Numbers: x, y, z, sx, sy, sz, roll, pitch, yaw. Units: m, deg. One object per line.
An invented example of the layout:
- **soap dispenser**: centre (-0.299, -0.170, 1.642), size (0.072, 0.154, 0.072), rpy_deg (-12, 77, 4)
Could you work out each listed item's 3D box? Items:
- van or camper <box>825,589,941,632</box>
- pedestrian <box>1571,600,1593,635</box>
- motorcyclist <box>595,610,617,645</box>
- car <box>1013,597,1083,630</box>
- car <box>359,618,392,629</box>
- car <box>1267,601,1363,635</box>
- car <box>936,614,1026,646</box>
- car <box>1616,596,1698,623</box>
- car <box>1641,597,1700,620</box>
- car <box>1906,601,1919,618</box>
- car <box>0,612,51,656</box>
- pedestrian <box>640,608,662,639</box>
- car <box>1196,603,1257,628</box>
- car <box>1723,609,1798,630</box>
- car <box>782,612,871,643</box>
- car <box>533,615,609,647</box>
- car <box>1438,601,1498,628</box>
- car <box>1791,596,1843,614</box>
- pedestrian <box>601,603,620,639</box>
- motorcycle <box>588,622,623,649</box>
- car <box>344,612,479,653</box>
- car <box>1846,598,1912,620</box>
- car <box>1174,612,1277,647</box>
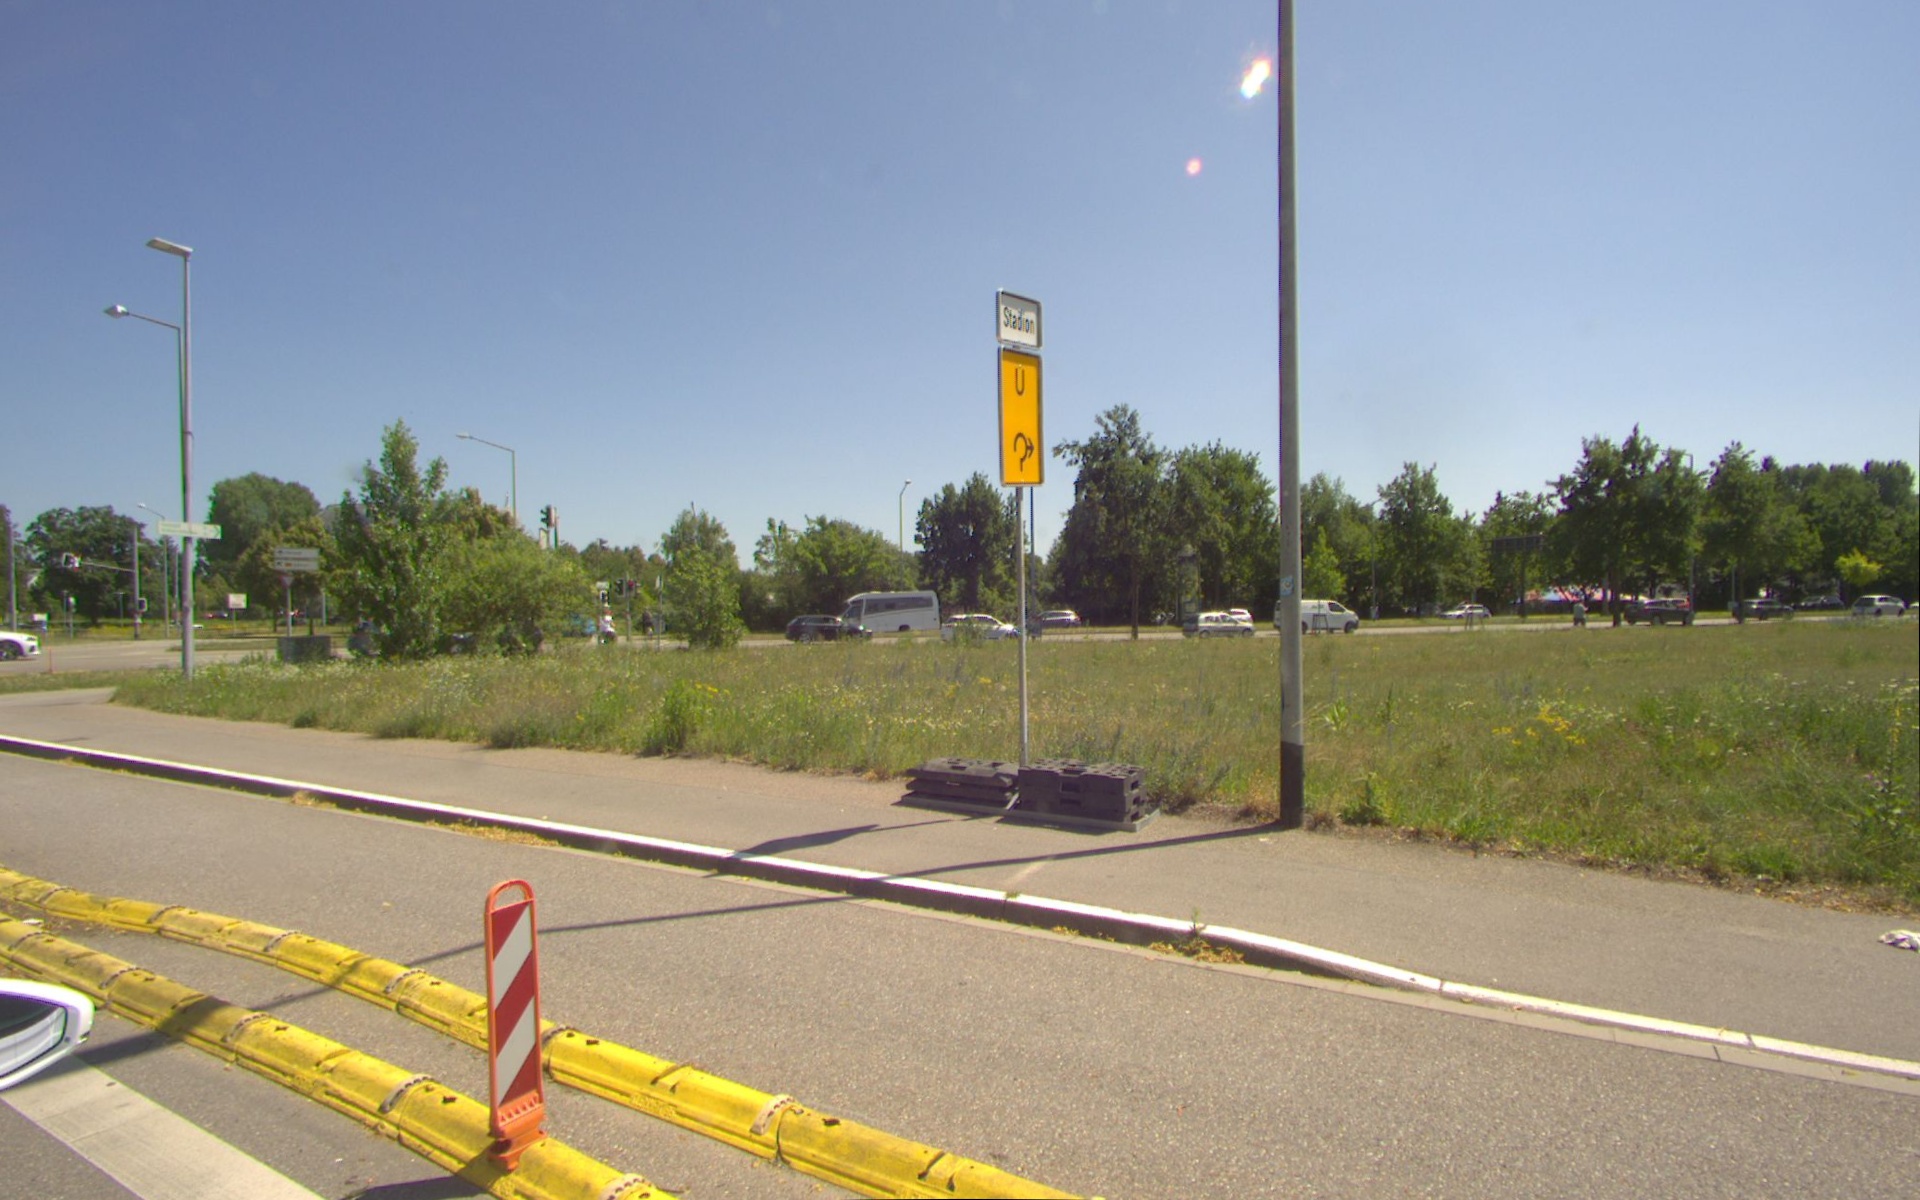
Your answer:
- **van or camper**: centre (-5.104, 0.720, 66.297), size (7.375, 2.728, 2.511), rpy_deg (0, -1, -14)
- **pedestrian**: centre (28.712, 0.817, 46.239), size (0.724, 1.583, 0.497), rpy_deg (0, -1, -18)
- **motorcyclist**: centre (-13.171, 1.031, 37.248), size (0.570, 1.306, 0.615), rpy_deg (0, -1, 3)
- **car**: centre (5.484, 0.847, 62.639), size (3.926, 2.040, 1.998), rpy_deg (0, -1, -12)
- **car**: centre (-87.495, 3.521, 149.969), size (1.963, 1.736, 3.997), rpy_deg (0, -1, 14)
- **car**: centre (20.048, 1.022, 56.568), size (4.898, 1.874, 1.997), rpy_deg (0, -1, -16)
- **car**: centre (0.962, 1.406, 46.965), size (3.946, 1.463, 1.632), rpy_deg (0, -1, -11)
- **car**: centre (43.944, 0.601, 63.144), size (4.369, 1.616, 1.997), rpy_deg (0, -1, -17)
- **car**: centre (57.977, 0.667, 81.717), size (3.928, 1.839, 1.801), rpy_deg (0, -1, -15)
- **car**: centre (92.339, 0.926, 94.727), size (4.696, 1.590, 1.998), rpy_deg (0, -1, -15)
- **car**: centre (-34.200, 1.157, 33.825), size (1.977, 1.529, 4.969), rpy_deg (-1, -2, 40)
- **pedestrian**: centre (-16.389, 1.248, 53.038), size (0.811, 1.583, 0.790), rpy_deg (-1, -1, 33)
- **car**: centre (19.283, 1.120, 72.407), size (3.926, 1.750, 1.736), rpy_deg (0, -1, -13)
- **car**: centre (54.495, 1.347, 68.176), size (4.131, 1.409, 1.899), rpy_deg (0, -1, -15)
- **car**: centre (-6.458, 1.306, 48.364), size (3.931, 1.425, 1.996), rpy_deg (0, -1, -19)
- **car**: centre (-23.149, 1.838, 59.755), size (3.926, 1.861, 1.998), rpy_deg (0, -1, -13)
- **car**: centre (40.136, 1.162, 79.127), size (3.928, 2.040, 1.997), rpy_deg (0, -1, -15)
- **car**: centre (77.302, 0.483, 90.317), size (3.928, 1.572, 1.738), rpy_deg (0, -1, -16)
- **pedestrian**: centre (-18.519, 1.098, 53.022), size (0.726, 1.894, 0.648), rpy_deg (-1, -1, 34)
- **motorcycle**: centre (-13.146, 1.321, 37.203), size (0.619, 0.982, 1.709), rpy_deg (0, -1, 3)
- **car**: centre (-20.359, 1.192, 37.253), size (4.169, 1.460, 1.985), rpy_deg (1, -1, -38)
- **car**: centre (66.878, 0.655, 72.885), size (3.928, 1.572, 1.738), rpy_deg (0, -1, -16)
- **car**: centre (13.625, 1.505, 51.374), size (4.855, 1.727, 1.995), rpy_deg (0, -1, -20)
